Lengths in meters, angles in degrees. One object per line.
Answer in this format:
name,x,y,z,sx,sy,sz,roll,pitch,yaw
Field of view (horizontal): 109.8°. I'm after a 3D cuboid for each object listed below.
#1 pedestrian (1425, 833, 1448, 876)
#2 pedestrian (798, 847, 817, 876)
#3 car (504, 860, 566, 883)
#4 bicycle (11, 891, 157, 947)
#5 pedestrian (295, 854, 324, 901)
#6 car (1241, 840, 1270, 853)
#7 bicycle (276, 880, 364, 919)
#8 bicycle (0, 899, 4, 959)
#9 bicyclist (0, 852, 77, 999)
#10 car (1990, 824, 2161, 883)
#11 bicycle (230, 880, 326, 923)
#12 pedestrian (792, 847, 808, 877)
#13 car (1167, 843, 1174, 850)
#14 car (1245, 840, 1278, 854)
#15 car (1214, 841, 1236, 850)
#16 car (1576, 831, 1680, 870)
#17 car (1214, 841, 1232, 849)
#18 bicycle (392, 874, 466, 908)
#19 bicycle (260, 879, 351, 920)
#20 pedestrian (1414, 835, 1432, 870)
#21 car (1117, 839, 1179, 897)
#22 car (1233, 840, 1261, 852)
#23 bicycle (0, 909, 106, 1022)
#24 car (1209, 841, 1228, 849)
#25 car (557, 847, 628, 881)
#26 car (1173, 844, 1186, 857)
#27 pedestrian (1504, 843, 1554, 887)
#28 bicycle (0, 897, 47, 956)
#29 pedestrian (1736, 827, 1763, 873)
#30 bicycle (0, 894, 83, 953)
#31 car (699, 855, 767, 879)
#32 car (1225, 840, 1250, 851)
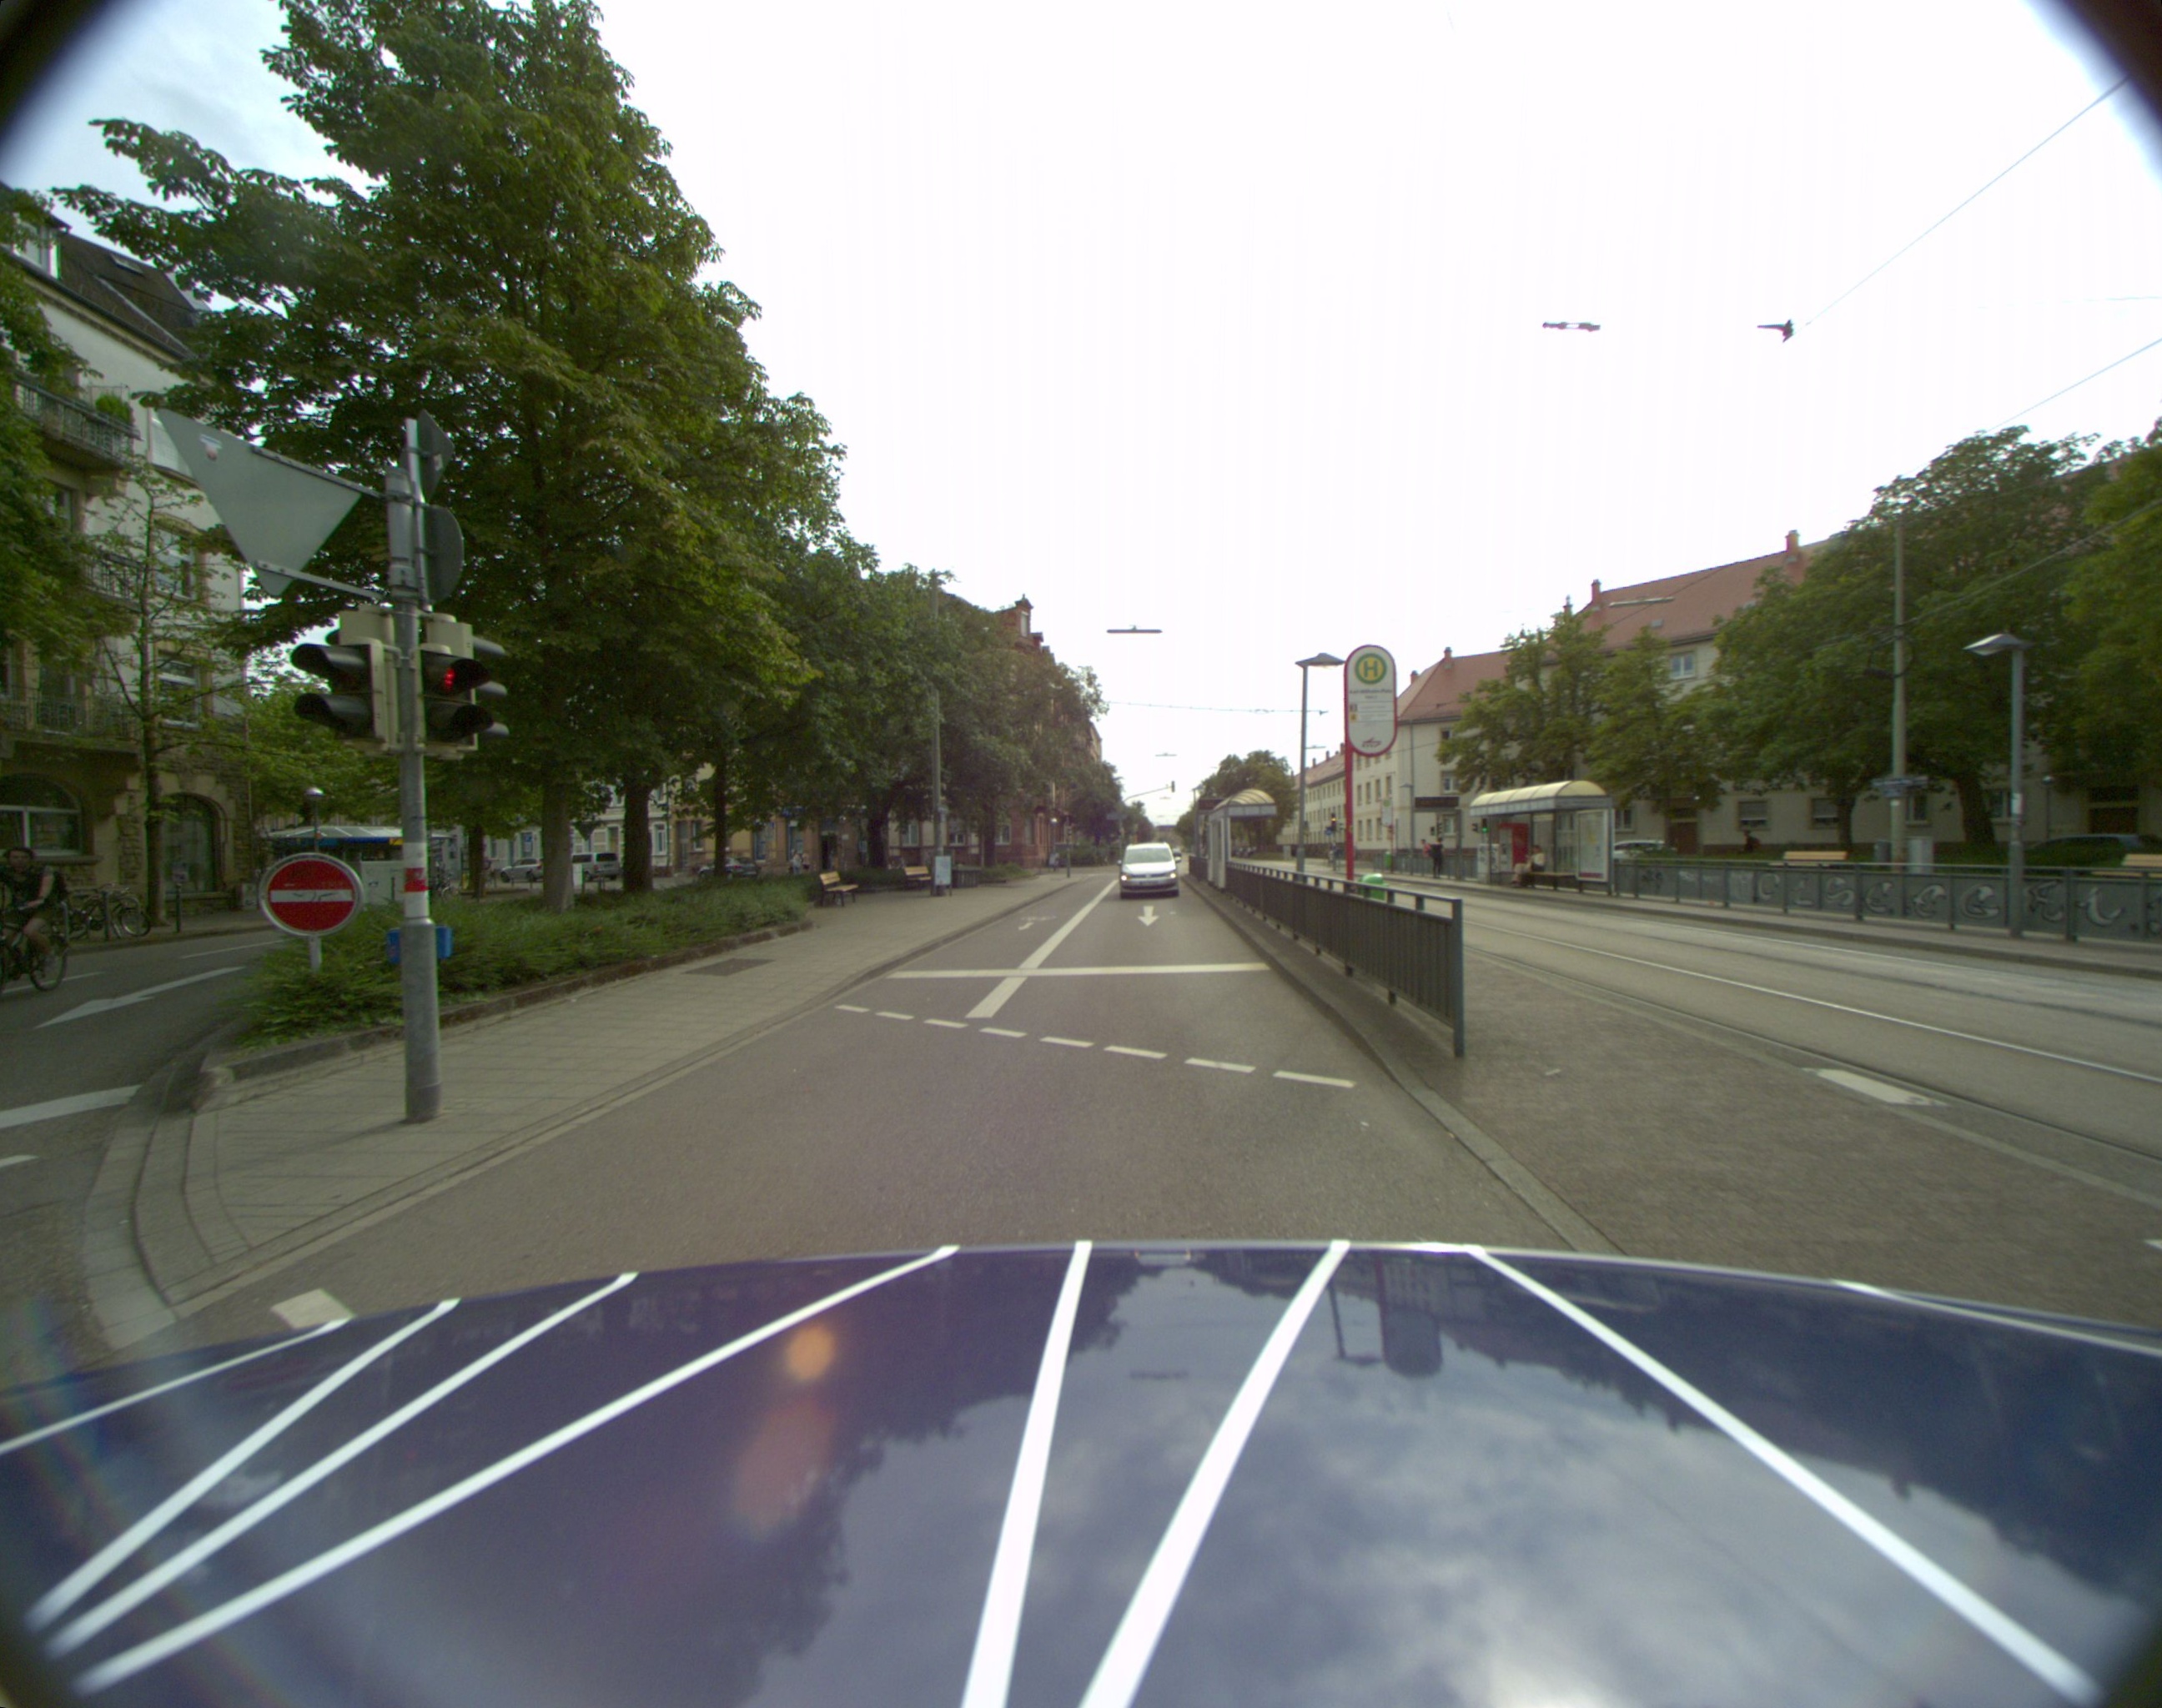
pedestrian,14.184,0.022,30.355,0.588,1.694,0.619,-2,1,1
pedestrian,-15.903,0.425,44.181,0.789,1.684,0.779,-1,1,2
car,-38.357,1.255,53.386,3.949,1.464,1.742,-2,1,24
bicycle,-20.427,1.308,15.615,1.795,1.032,0.482,-1,0,-24
pedestrian,-28.295,0.862,27.866,0.636,1.692,0.674,0,2,41
car,25.162,-1.117,109.637,3.995,1.716,1.877,-2,1,8
bicycle,-21.281,1.268,21.257,1.793,1.032,0.482,-1,0,-8
bicycle,-19.610,1.321,12.735,1.795,1.032,0.482,-1,0,-24
bicyclist,-12.889,0.828,9.030,0.841,1.680,1.243,-2,0,-39
car,34.946,-0.045,26.479,1.853,1.854,3.755,-2,1,-8
bicycle,-20.855,1.233,19.748,1.793,1.032,0.482,-1,0,-8
pedestrian,-15.998,0.439,43.213,0.612,1.684,0.641,-1,1,0
car,26.222,-2.099,223.020,1.997,2.002,4.001,-2,1,7
car,23.788,-0.961,100.390,3.995,1.716,1.877,-2,1,8
car,28.297,-1.684,149.592,3.995,1.716,1.877,-2,1,8
car,28.074,-0.173,39.034,4.187,1.854,1.857,-2,1,40
car,32.499,-2.117,173.995,3.995,1.716,1.877,-2,1,8
bicycle,-20.807,1.169,24.268,1.793,1.032,0.482,-1,0,-8
bicycle,-20.932,1.217,20.532,1.793,1.032,0.482,-1,0,-8
pedestrian,17.877,-0.091,39.706,0.658,1.824,0.464,-2,1,-8
car,2.222,0.386,24.715,1.766,1.661,4.331,-3,1,6
car,26.186,-1.271,119.907,3.995,1.716,1.877,-2,1,8
bicycle,-12.866,1.288,9.016,0.888,1.039,3.088,-2,1,-39
car,30.217,-1.947,166.615,3.995,1.716,1.877,-2,1,8
car,-32.850,0.652,51.081,4.534,2.104,1.742,-2,1,24
car,15.957,-0.597,123.732,1.997,2.002,4.001,-2,1,7
pedestrian,13.254,0.313,22.483,1.032,1.230,0.724,-2,1,4
bicycle,-19.879,1.318,13.481,1.795,1.032,0.482,-1,0,-24
pedestrian,30.157,-0.176,34.270,0.862,2.002,0.765,-1,2,40
bicycle,-20.129,1.313,14.180,1.795,1.032,0.482,-1,0,-24
car,-20.250,0.764,44.186,3.580,1.259,1.742,-2,1,29
car,26.848,-1.414,130.381,3.995,1.716,1.877,-2,1,8
